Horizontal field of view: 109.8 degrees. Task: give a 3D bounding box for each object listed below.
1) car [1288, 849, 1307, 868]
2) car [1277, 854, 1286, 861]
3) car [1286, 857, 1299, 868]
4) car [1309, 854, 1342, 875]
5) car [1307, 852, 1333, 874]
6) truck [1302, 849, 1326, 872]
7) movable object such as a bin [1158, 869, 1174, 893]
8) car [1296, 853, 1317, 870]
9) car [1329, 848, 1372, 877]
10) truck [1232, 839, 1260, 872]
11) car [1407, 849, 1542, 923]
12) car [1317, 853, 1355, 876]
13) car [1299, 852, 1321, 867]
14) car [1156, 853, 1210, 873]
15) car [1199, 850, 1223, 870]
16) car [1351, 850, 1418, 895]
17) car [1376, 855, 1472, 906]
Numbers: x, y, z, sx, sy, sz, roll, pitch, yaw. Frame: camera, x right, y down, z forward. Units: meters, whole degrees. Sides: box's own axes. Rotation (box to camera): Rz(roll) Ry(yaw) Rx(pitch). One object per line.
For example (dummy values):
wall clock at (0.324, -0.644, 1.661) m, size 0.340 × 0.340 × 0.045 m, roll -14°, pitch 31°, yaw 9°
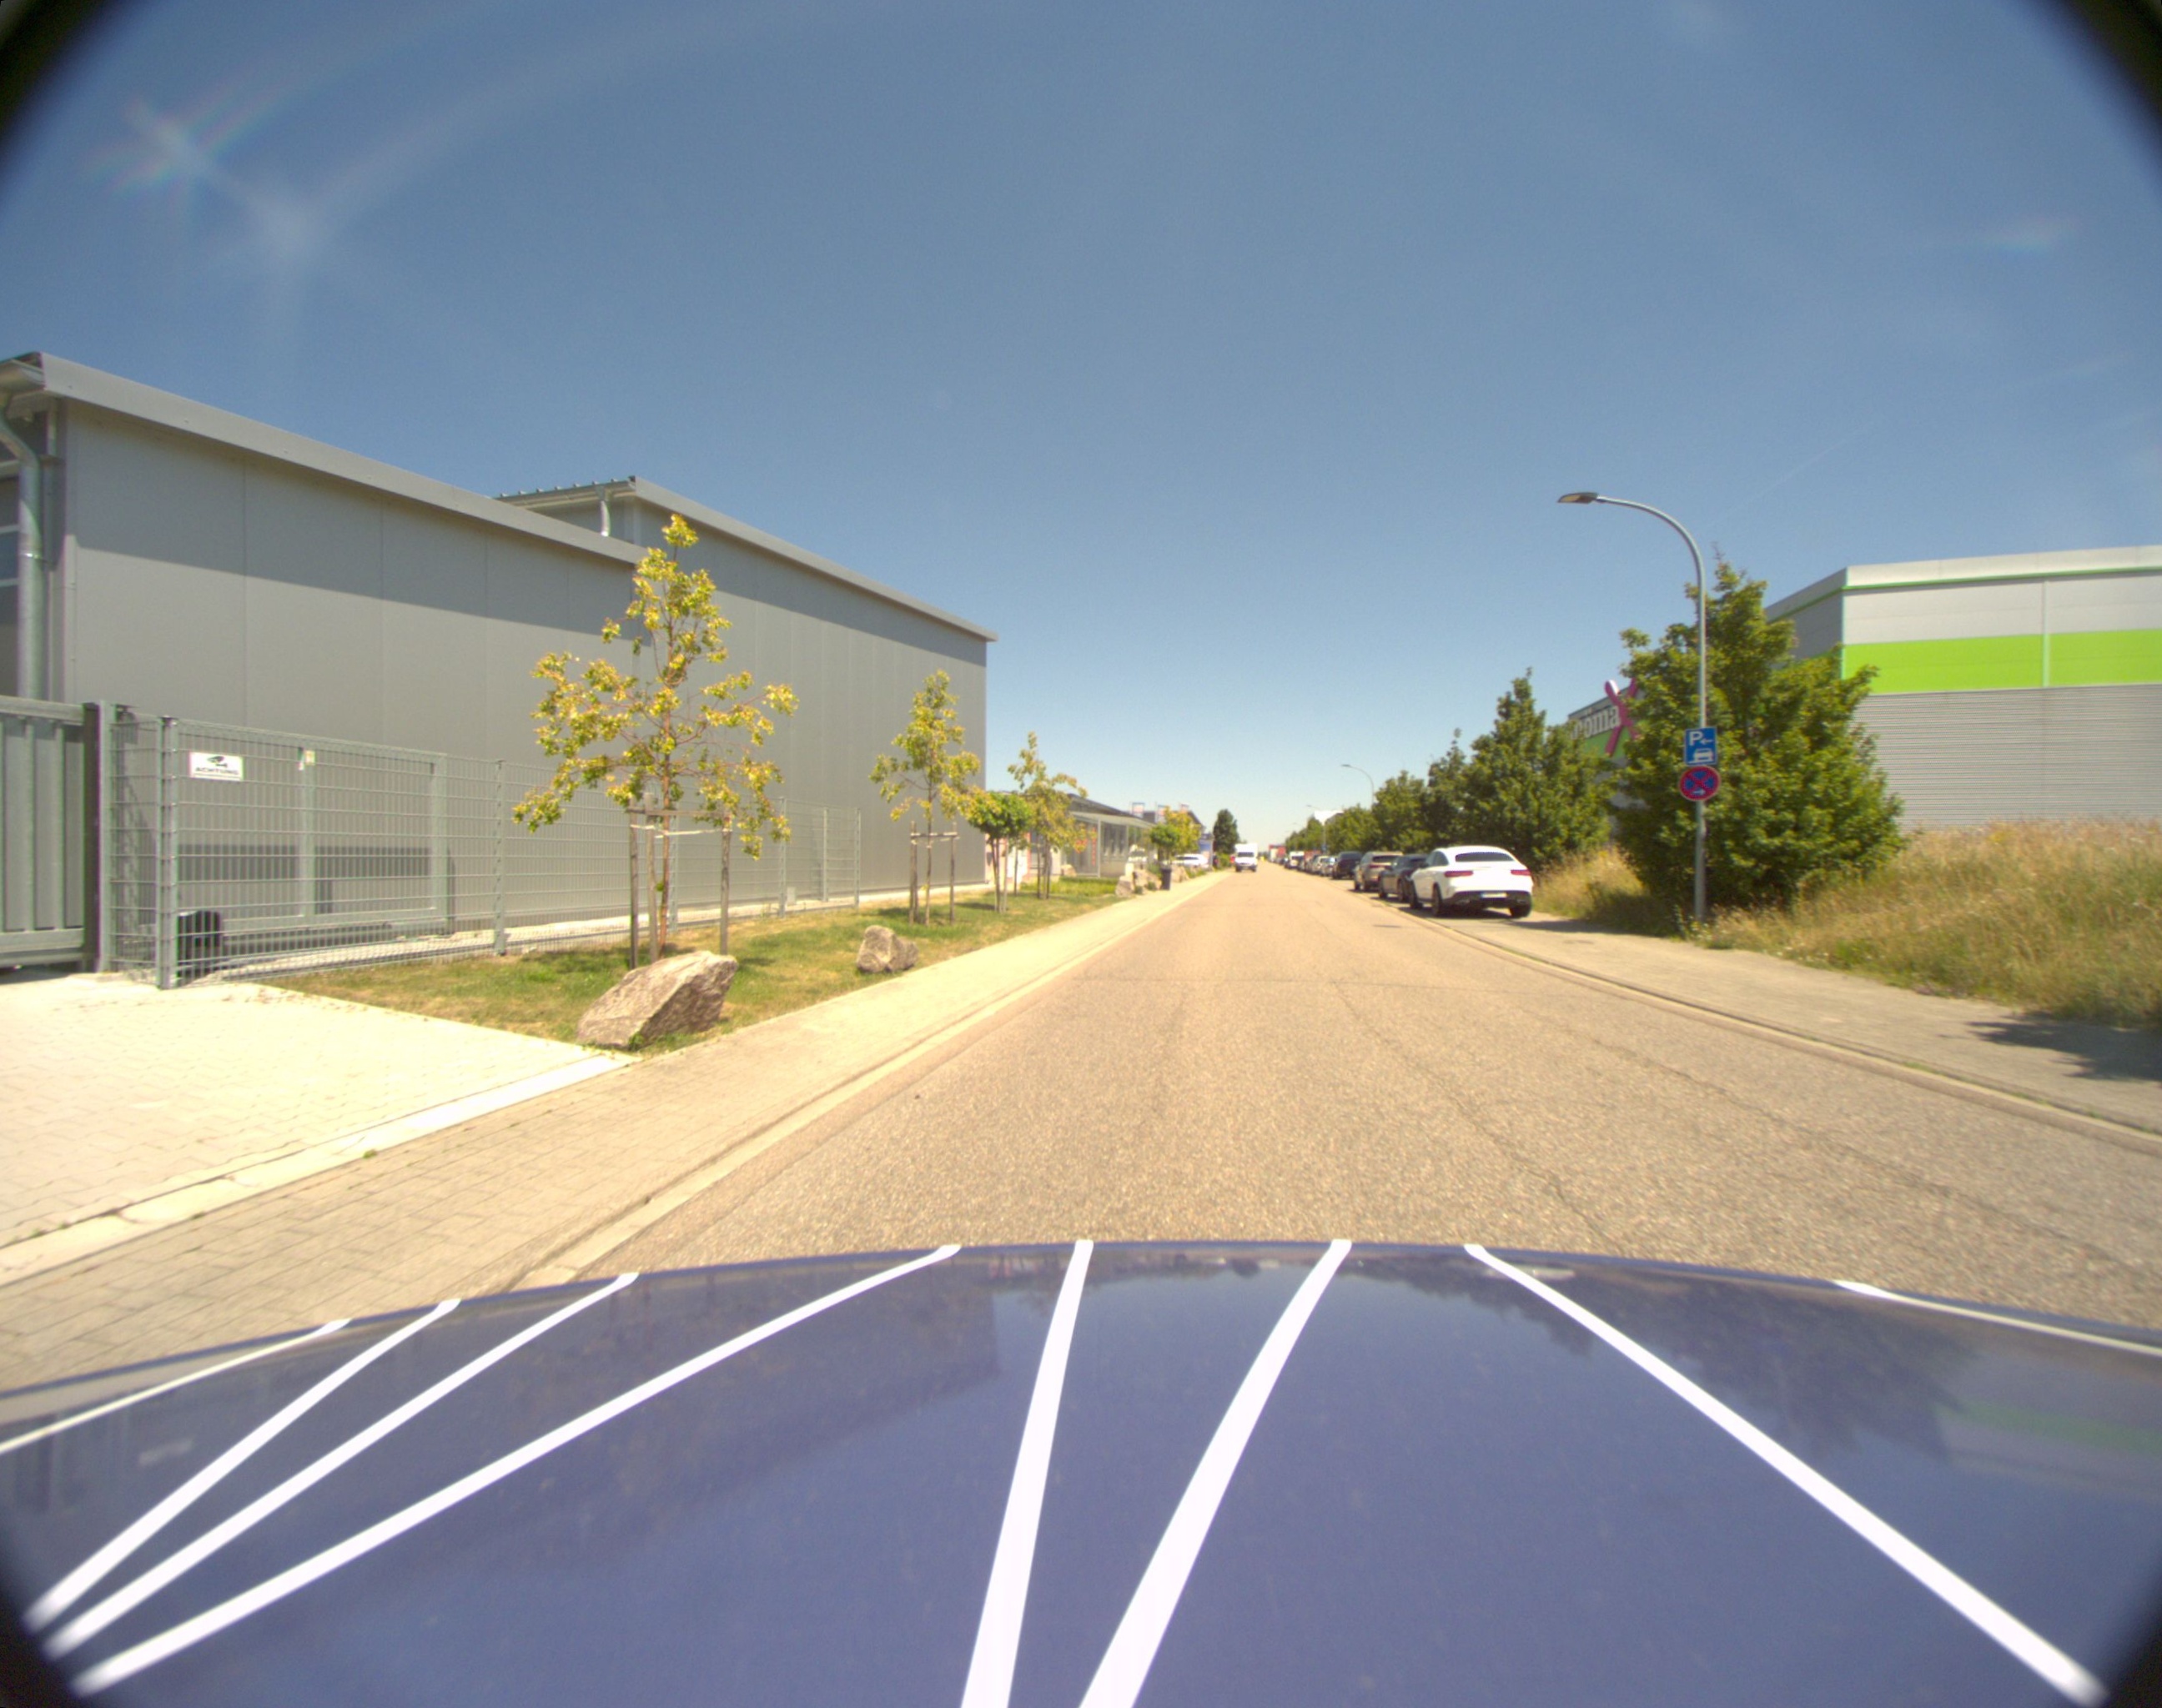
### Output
car at (30.625, 0.658, 107.465) m, size 2.326 × 2.583 × 6.092 m, roll -1°, pitch -1°, yaw 14°
car at (46.639, 0.788, 176.552) m, size 1.797 × 1.638 × 3.835 m, roll 0°, pitch 0°, yaw 12°
car at (34.498, 1.370, 123.889) m, size 1.834 × 1.799 × 4.087 m, roll -1°, pitch -1°, yaw 14°
car at (19.265, 0.814, 60.107) m, size 1.854 × 1.510 × 4.909 m, roll -1°, pitch -1°, yaw 11°
car at (20.644, 0.757, 65.800) m, size 1.854 × 1.748 × 4.992 m, roll -1°, pitch -1°, yaw 14°
truck at (23.403, 0.612, 76.502) m, size 1.854 × 2.209 × 4.651 m, roll -1°, pitch -1°, yaw 13°
movable object such as a bin at (3.515, 1.114, 31.396) m, size 0.559 × 0.941 × 0.540 m, roll 1°, pitch 1°, yaw 12°
car at (25.834, 0.859, 87.115) m, size 1.977 × 1.889 × 5.408 m, roll -1°, pitch -1°, yaw 13°
car at (16.616, 0.529, 47.066) m, size 1.994 × 1.703 × 5.013 m, roll -1°, pitch -1°, yaw 13°
truck at (17.024, 0.206, 77.993) m, size 2.460 × 3.186 × 6.891 m, roll 1°, pitch 0°, yaw 15°
car at (9.787, 0.703, 19.339) m, size 1.915 × 1.646 × 4.759 m, roll 0°, pitch 0°, yaw 13°
car at (18.081, 0.715, 54.007) m, size 1.854 × 1.510 × 5.172 m, roll -1°, pitch -1°, yaw 11°
car at (24.401, 0.612, 80.978) m, size 1.854 × 1.542 × 3.770 m, roll 0°, pitch 0°, yaw 11°
car at (8.322, 0.733, 61.900) m, size 4.286 × 1.532 × 1.915 m, roll 1°, pitch 0°, yaw 10°
car at (14.451, 0.700, 84.491) m, size 1.996 × 2.001 × 5.343 m, roll -4°, pitch -1°, yaw 15°
car at (12.479, 0.722, 31.497) m, size 1.915 × 1.703 × 4.418 m, roll -1°, pitch -1°, yaw 13°
car at (11.108, 0.796, 24.925) m, size 1.915 × 1.483 × 4.417 m, roll 0°, pitch 0°, yaw 11°
